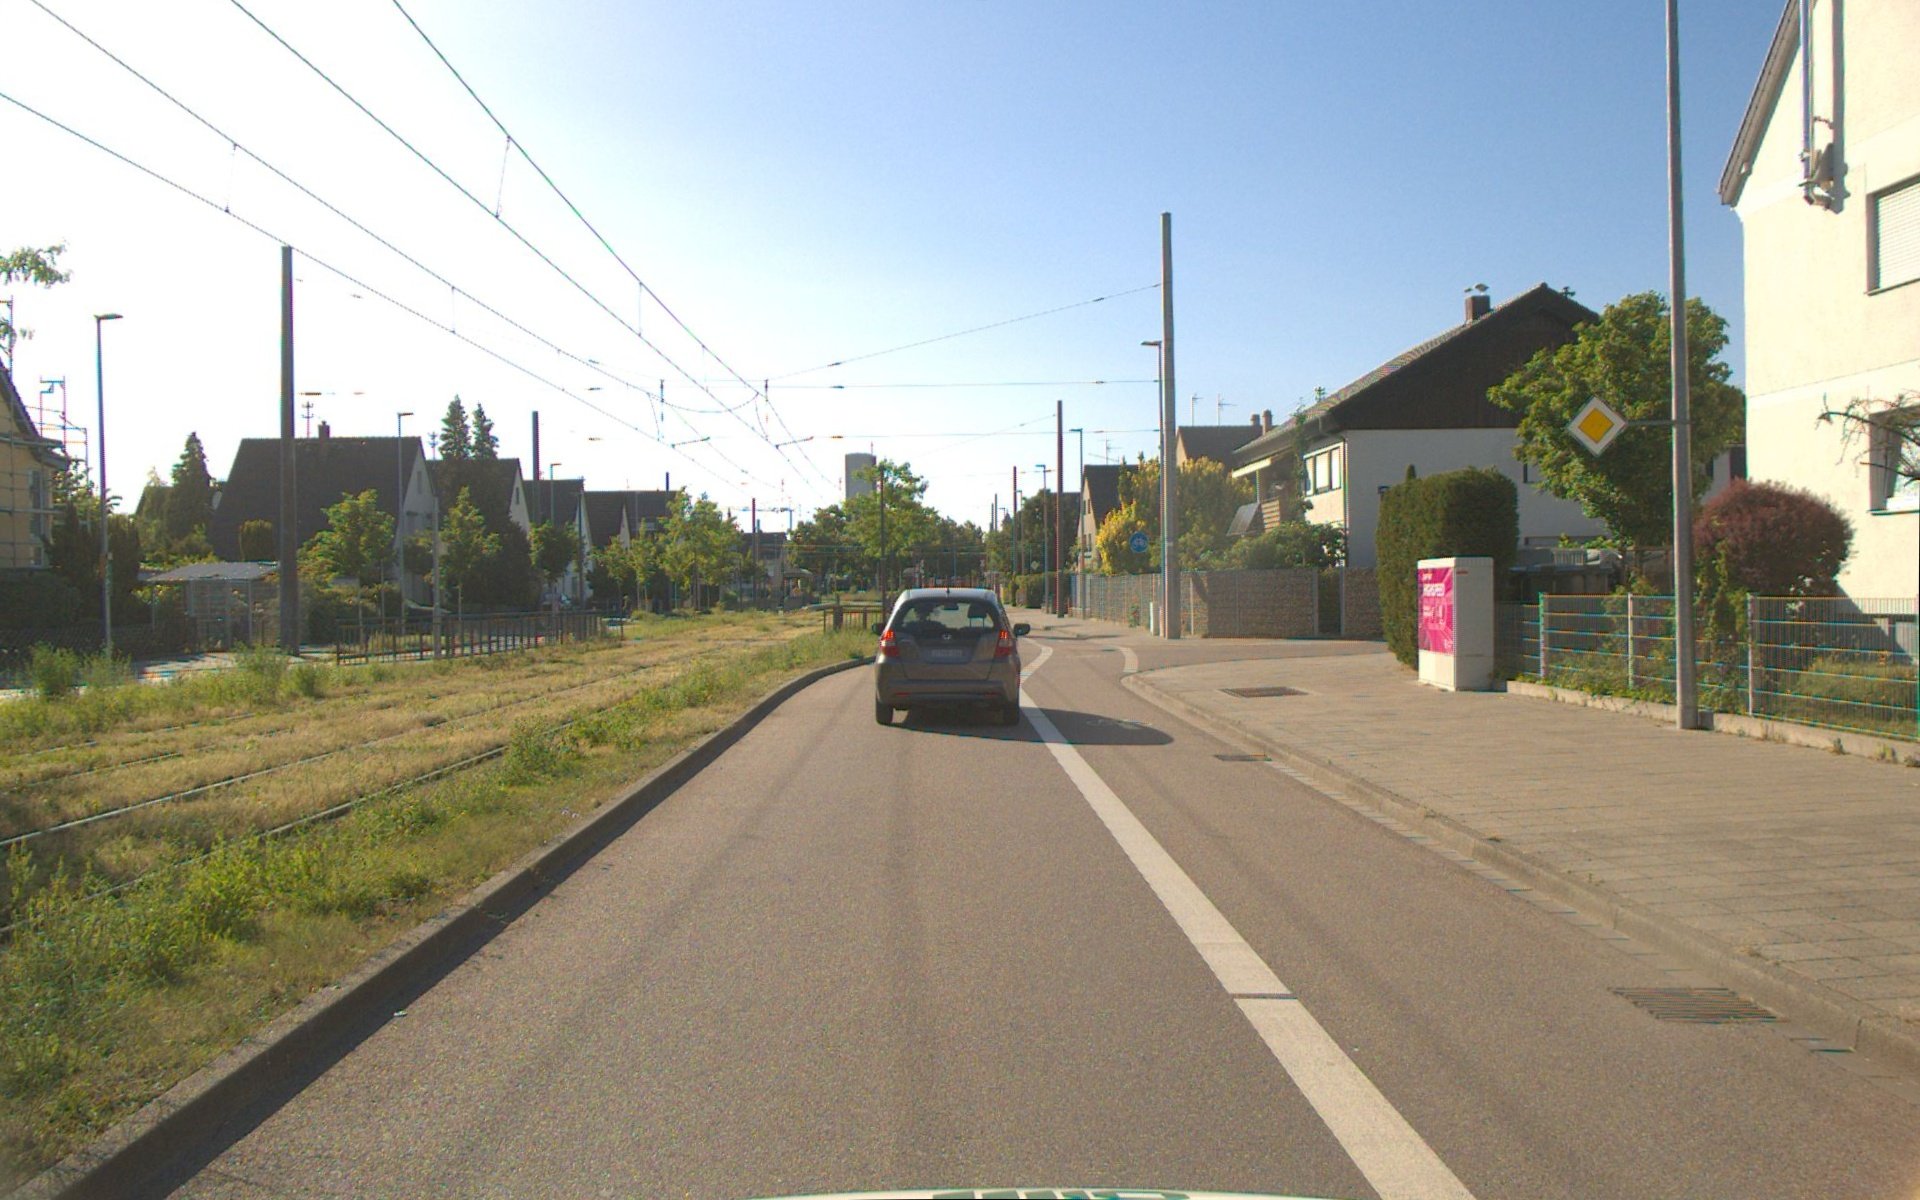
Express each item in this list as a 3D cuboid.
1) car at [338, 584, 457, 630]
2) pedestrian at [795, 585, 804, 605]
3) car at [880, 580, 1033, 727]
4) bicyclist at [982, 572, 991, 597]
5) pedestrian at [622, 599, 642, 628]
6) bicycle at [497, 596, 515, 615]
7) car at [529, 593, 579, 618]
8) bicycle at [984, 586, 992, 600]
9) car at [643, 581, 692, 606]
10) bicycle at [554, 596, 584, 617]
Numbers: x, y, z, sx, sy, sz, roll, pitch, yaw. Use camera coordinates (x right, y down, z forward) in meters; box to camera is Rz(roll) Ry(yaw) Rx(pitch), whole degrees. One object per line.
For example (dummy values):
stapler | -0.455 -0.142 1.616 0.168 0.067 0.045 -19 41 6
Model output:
car | -23.639 0.272 69.661 4.461 1.765 2.046 -2 0 -13
pedestrian | -12.507 -0.379 128.807 0.662 1.562 0.748 -1 0 -5
car | -0.110 0.571 19.702 1.637 1.562 3.485 1 0 -3
bicyclist | 1.868 -1.050 114.913 0.586 1.731 0.683 0 -1 -1
pedestrian | -19.768 0.814 99.669 0.945 1.669 1.085 -1 0 -1
bicycle | -23.042 0.285 83.921 0.414 0.958 1.748 -1 0 -1
car | -25.446 0.335 103.796 1.895 1.475 5.161 -1 0 -1
bicycle | 1.939 -0.499 115.126 0.465 0.978 1.657 0 0 -1
car | -24.665 -0.555 139.578 3.913 2.004 1.929 1 0 -9
bicycle | -27.293 0.437 115.425 1.951 1.389 0.704 -1 0 -8
